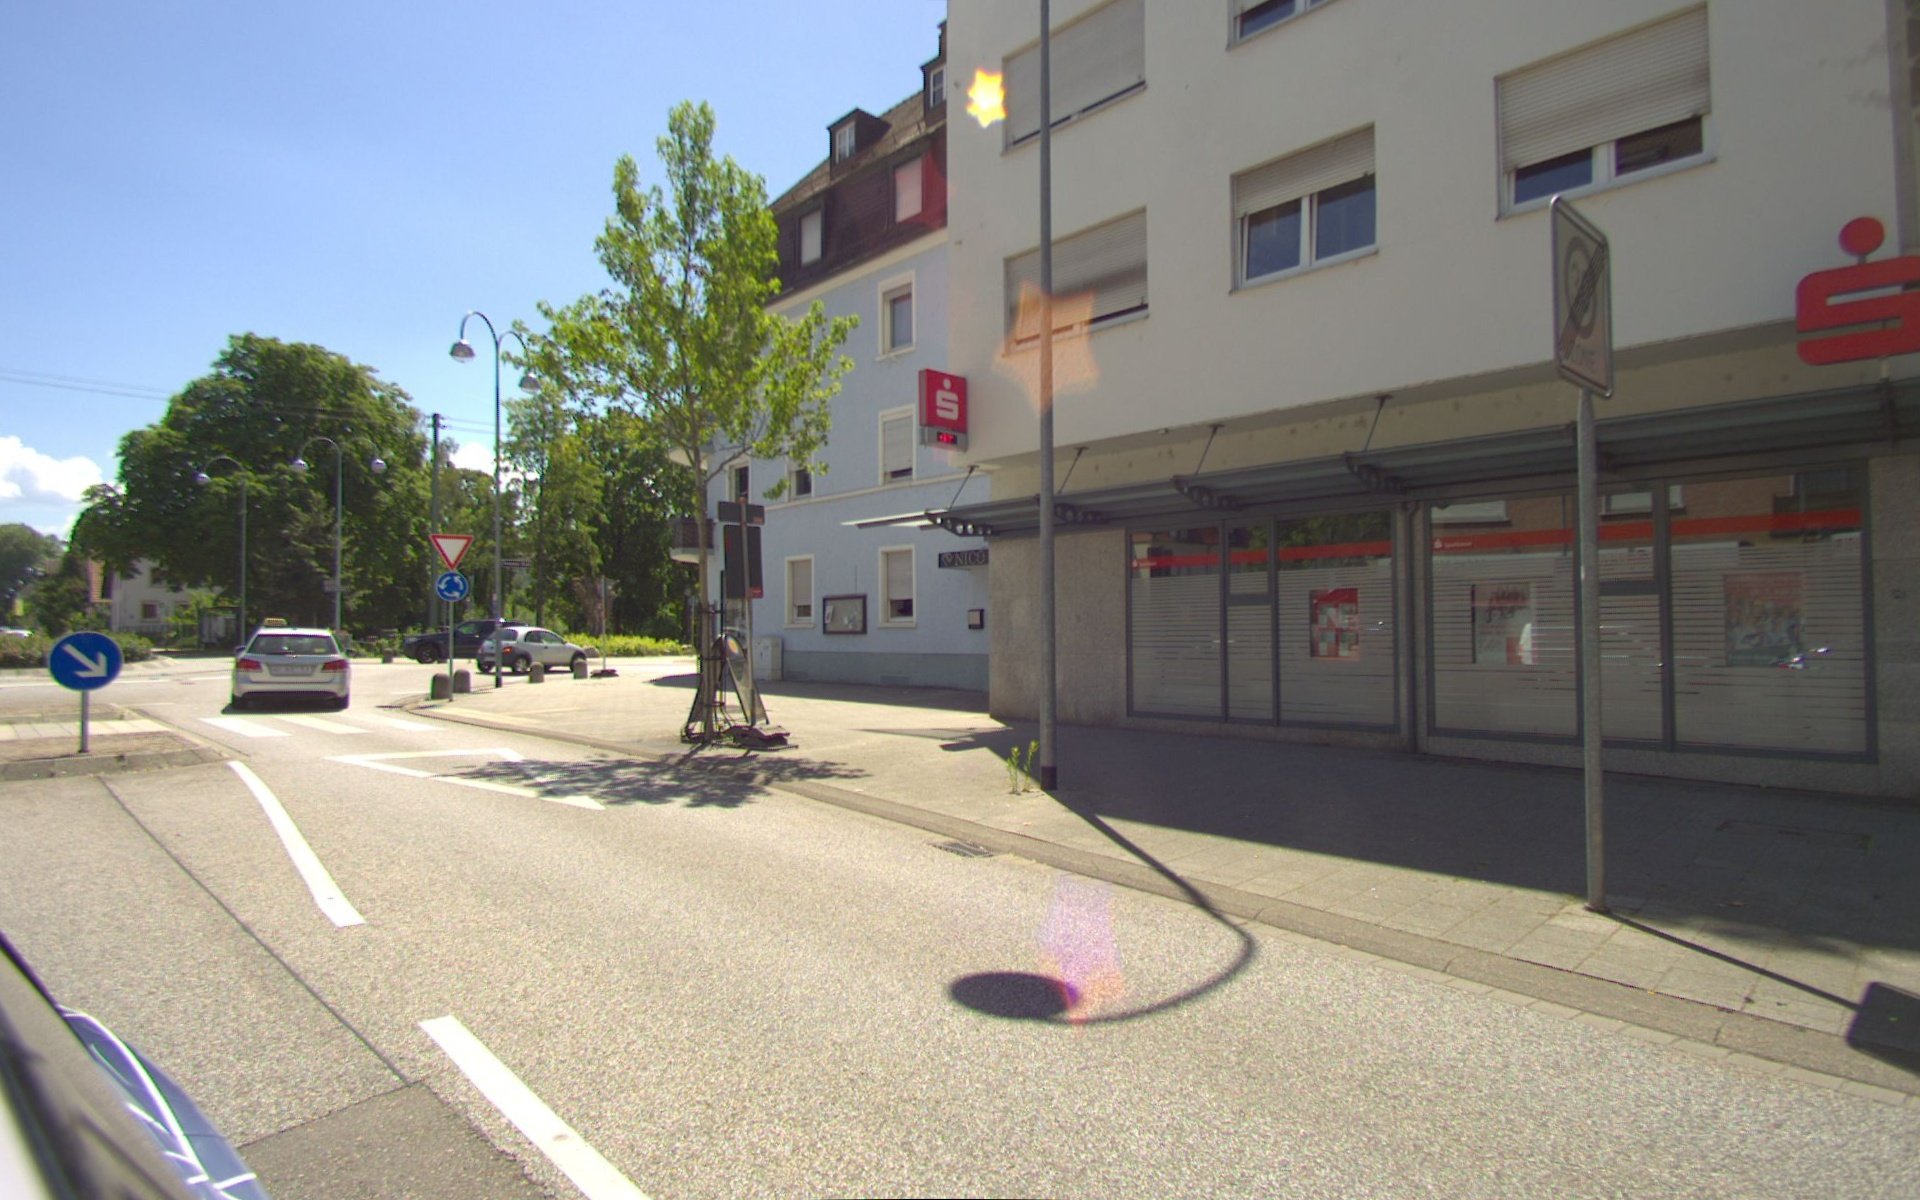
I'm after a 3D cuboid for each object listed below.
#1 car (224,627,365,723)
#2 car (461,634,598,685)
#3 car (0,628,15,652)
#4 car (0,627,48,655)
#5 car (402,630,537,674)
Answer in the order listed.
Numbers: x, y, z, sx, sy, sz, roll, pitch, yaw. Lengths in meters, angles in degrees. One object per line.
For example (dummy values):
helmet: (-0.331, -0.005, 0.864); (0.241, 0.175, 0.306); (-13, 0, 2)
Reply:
car: (-13.044, 1.398, 19.689); (1.967, 1.605, 5.010); (3, -4, -36)
car: (-13.413, 1.860, 31.737); (1.696, 1.469, 3.755); (-1, -3, 26)
car: (-67.363, 2.711, 69.902); (4.152, 1.574, 1.978); (0, -6, 32)
car: (-54.648, 2.399, 58.776); (1.901, 1.392, 4.299); (-1, -3, -34)
car: (-18.793, 2.013, 38.817); (4.539, 1.597, 1.954); (2, -6, -29)
